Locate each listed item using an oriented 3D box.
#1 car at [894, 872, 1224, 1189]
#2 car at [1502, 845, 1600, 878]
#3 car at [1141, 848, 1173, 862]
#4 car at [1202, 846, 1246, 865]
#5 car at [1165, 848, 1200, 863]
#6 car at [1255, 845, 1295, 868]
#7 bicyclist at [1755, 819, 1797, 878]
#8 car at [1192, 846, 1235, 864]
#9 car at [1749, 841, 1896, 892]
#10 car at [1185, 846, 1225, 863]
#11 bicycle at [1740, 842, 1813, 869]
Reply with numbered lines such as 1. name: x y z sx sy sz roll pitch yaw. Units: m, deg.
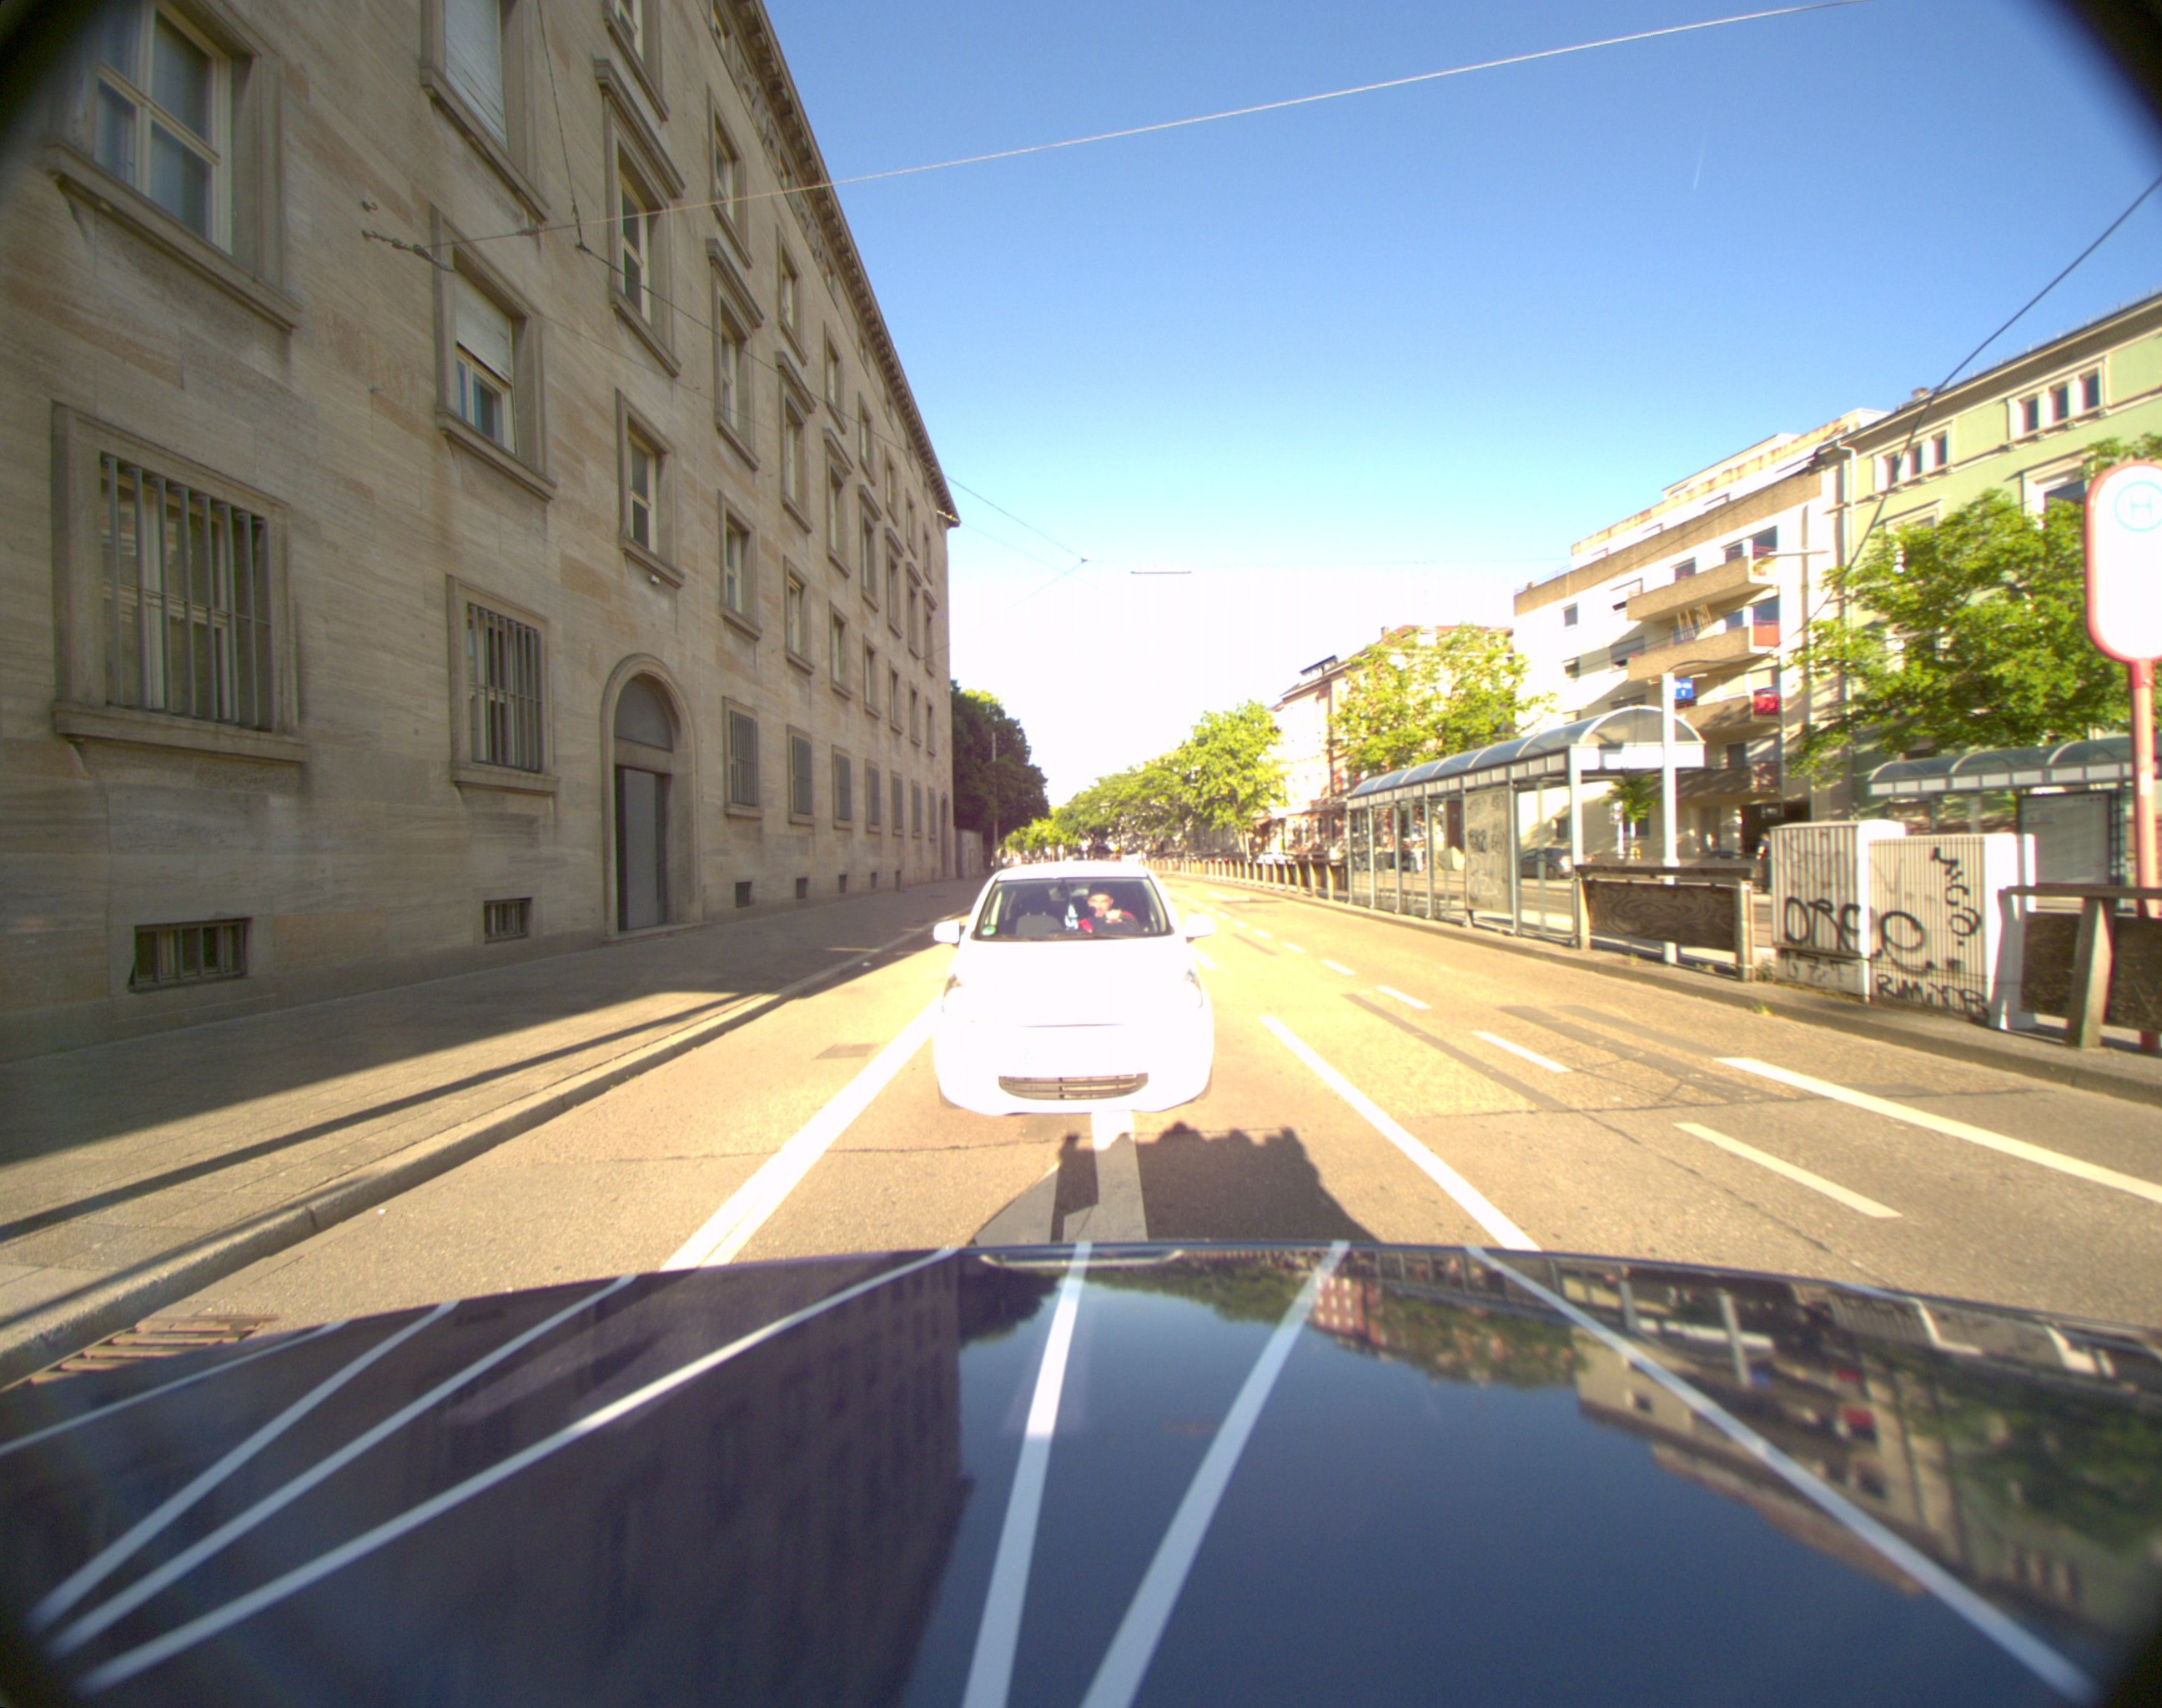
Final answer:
1. car: -0.083 0.922 5.598 1.612 1.450 3.667 -1 0 1
2. car: 20.843 0.314 33.835 1.615 1.387 3.516 -1 0 -19
3. car: 9.563 0.126 95.716 3.864 1.583 2.001 -1 0 4
4. car: 13.635 0.125 72.593 3.996 1.674 2.000 -1 0 4
5. car: 11.435 0.140 86.090 3.864 1.583 2.001 -1 0 5
6. car: 16.303 0.160 63.678 1.994 1.713 4.007 0 2 34
7. bicyclist: 21.244 -0.168 23.237 0.536 1.750 0.771 -1 0 1
8. car: 13.349 0.110 76.727 3.996 1.674 2.000 -1 0 4
9. car: 23.932 0.368 24.551 3.796 1.526 1.772 -1 0 -17
10. car: 13.156 0.081 80.530 3.996 1.674 2.000 -1 0 4
11. bicycle: 21.253 0.057 23.255 0.536 0.782 1.853 -1 -1 1
